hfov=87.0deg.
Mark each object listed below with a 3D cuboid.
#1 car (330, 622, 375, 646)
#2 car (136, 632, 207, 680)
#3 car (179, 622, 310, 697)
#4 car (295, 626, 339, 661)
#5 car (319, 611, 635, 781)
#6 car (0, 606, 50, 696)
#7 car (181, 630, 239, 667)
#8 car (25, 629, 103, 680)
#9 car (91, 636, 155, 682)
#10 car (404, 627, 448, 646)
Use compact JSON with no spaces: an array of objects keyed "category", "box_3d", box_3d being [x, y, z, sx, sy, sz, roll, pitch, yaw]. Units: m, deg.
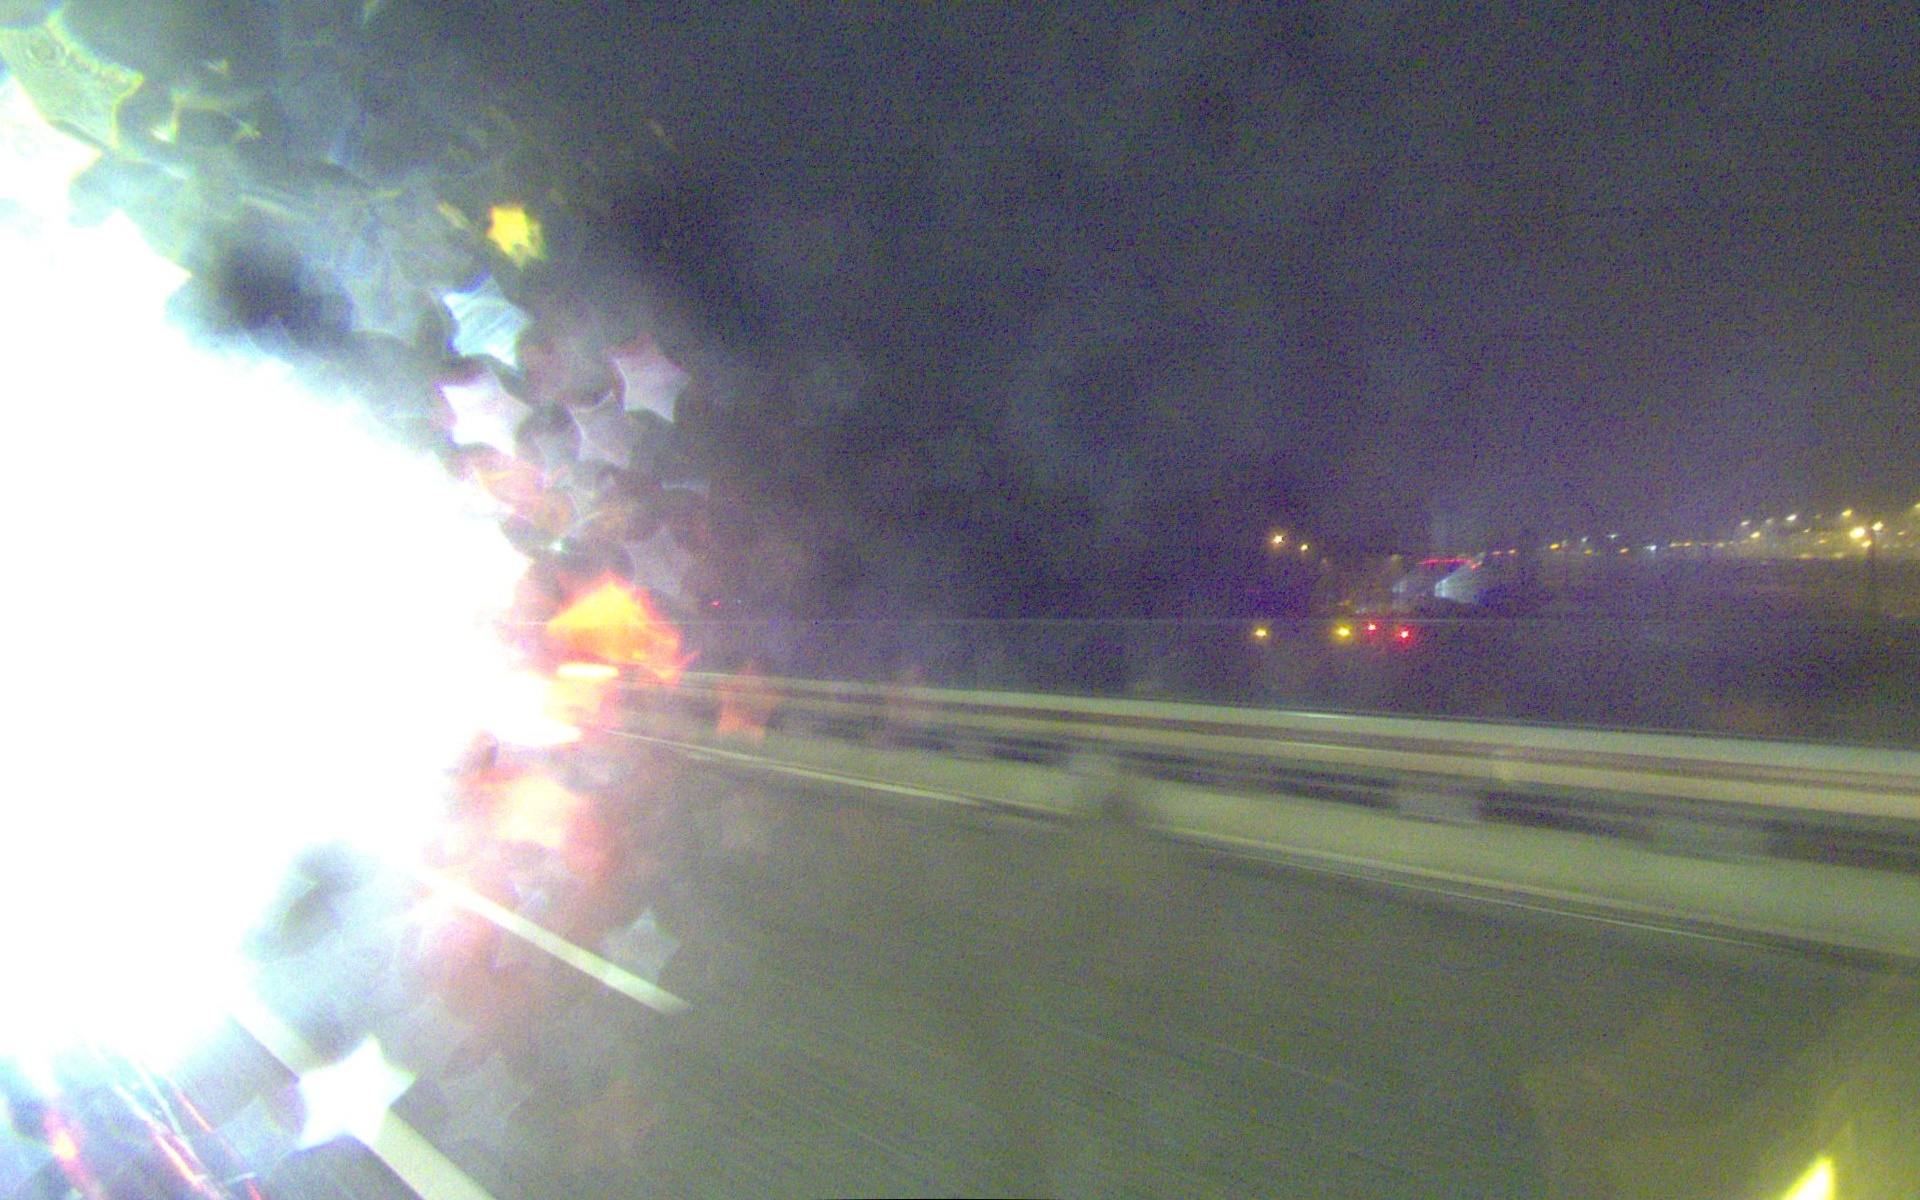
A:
[{"category":"car","box_3d":[-45.601,2.567,76.065,1.971,1.687,4.631,-1,-2,-20]},{"category":"car","box_3d":[-42.966,3.021,55.242,1.966,2.027,4.014,-7,5,-24]},{"category":"car","box_3d":[-15.811,1.230,22.272,1.663,1.401,4.454,-2,1,-44]},{"category":"car","box_3d":[-30.200,2.045,47.589,1.450,1.597,3.201,0,-2,-27]},{"category":"car","box_3d":[-5.157,0.883,10.528,1.793,1.415,4.051,1,-3,-44]},{"category":"car","box_3d":[-23.171,1.179,24.099,1.968,2.029,4.007,1,-2,-39]},{"category":"car","box_3d":[-32.207,2.052,43.546,1.870,1.450,4.073,0,-2,-35]},{"category":"car","box_3d":[-29.510,1.780,33.399,1.498,1.537,3.115,-1,-2,-34]},{"category":"car","box_3d":[-34.056,2.376,41.227,1.285,1.539,3.055,-12,4,-30]},{"category":"car","box_3d":[-41.863,2.855,79.487,1.744,1.438,4.226,1,-2,-8]}]
